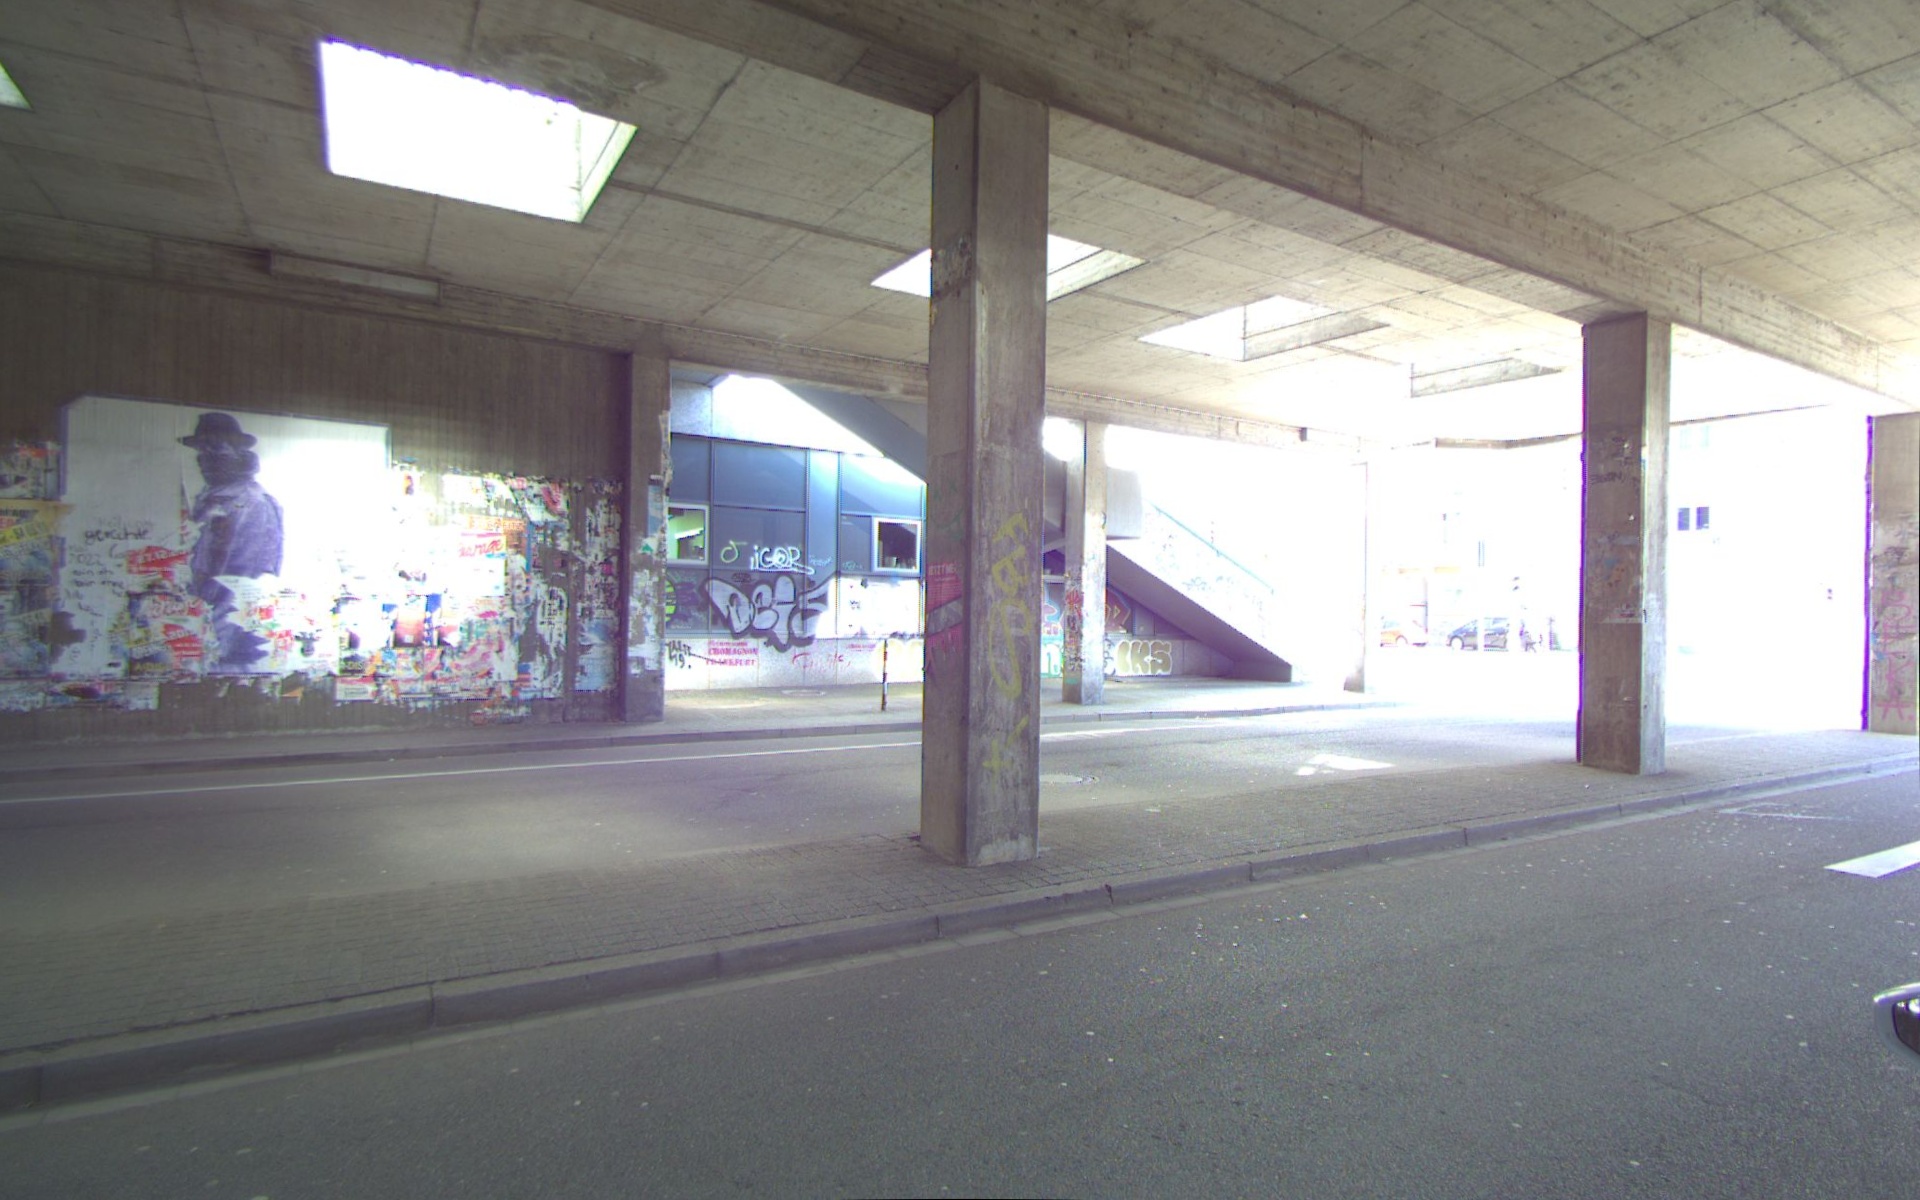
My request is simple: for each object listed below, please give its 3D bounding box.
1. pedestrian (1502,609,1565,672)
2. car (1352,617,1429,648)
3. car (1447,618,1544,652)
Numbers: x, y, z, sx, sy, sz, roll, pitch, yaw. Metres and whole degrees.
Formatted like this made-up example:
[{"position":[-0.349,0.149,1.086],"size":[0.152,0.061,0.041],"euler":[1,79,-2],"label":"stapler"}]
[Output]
[{"position":[16.431,1.159,28.810],"size":[1.123,1.760,1.111],"euler":[1,-1,-17],"label":"pedestrian"},{"position":[22.457,1.676,52.455],"size":[1.543,1.526,3.518],"euler":[1,-1,-29],"label":"car"},{"position":[25.400,1.634,47.776],"size":[1.732,1.528,3.735],"euler":[1,-1,-31],"label":"car"}]
